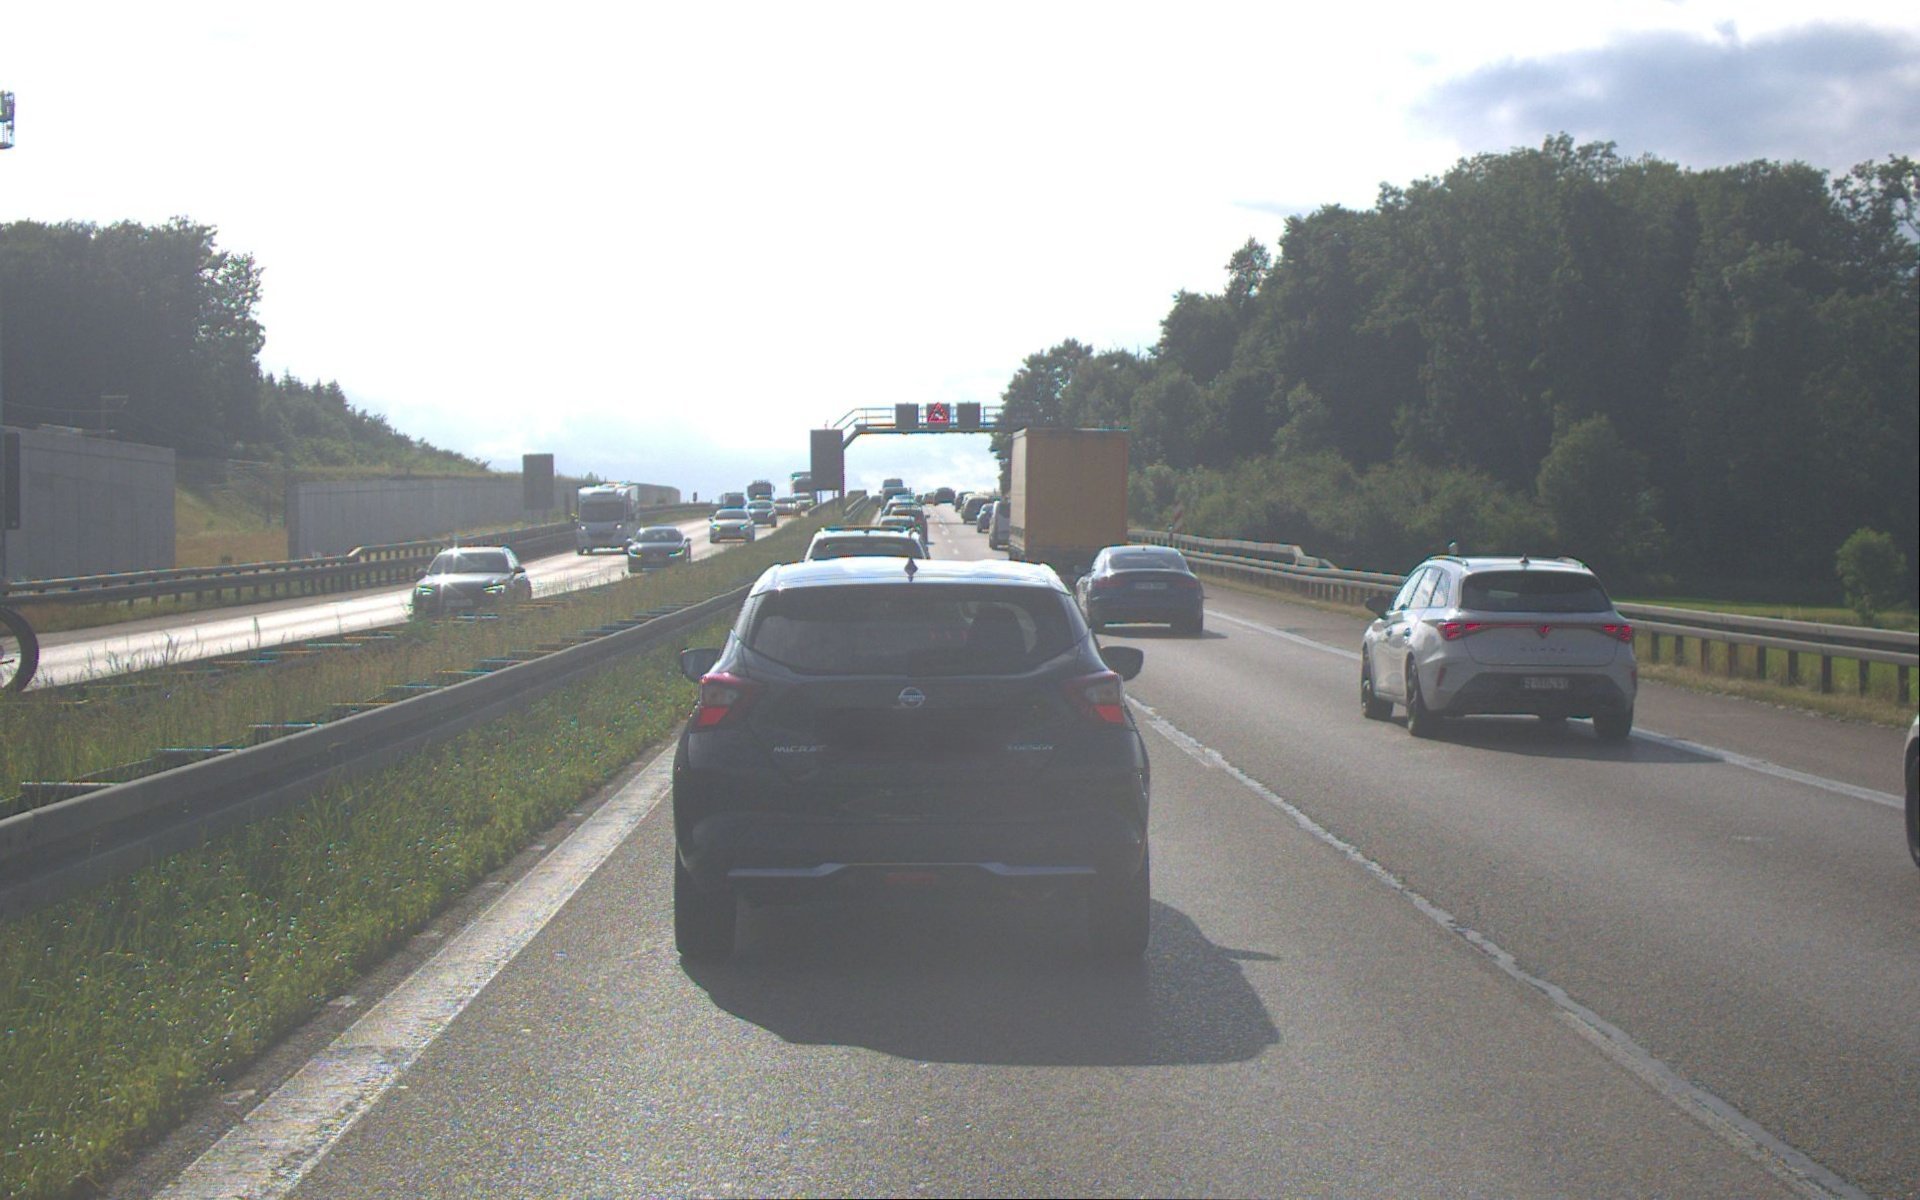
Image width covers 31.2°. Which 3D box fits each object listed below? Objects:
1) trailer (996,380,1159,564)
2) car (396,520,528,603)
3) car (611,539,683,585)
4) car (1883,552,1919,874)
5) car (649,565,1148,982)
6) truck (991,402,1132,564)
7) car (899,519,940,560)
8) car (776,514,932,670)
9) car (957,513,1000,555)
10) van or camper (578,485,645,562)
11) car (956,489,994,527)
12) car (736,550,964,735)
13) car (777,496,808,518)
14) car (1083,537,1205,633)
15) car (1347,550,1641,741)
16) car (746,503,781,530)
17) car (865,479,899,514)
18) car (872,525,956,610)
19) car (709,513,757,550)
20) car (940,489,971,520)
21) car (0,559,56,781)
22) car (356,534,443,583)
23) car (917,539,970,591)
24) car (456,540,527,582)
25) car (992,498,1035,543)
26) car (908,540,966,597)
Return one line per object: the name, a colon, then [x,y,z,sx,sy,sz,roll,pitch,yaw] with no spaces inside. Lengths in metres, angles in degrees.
trailer: [2.956,-3.222,90.898,3.548,4.442,12.723,1,0,-1]
car: [-9.156,-0.701,63.489,1.902,1.459,4.184,1,0,-1]
car: [-9.959,-1.208,109.749,1.993,1.428,4.449,1,0,-1]
car: [5.275,0.559,14.839,1.548,1.490,3.378,1,1,-2]
car: [-0.189,0.587,13.554,1.710,1.421,3.378,1,0,1]
truck: [2.800,-3.242,97.427,3.581,4.365,6.689,1,0,-1]
car: [-1.763,-2.624,149.900,1.667,1.749,3.327,1,0,1]
car: [-1.197,-0.097,40.126,1.674,1.720,3.596,1,0,0]
car: [0.927,-3.269,171.532,1.993,2.007,4.000,1,0,-1]
van or camper: [-14.261,-3.102,141.042,2.225,3.068,6.513,1,0,-1]
car: [0.817,-5.145,193.002,1.993,2.007,4.000,1,0,-1]
car: [-0.818,0.309,27.399,1.674,1.362,3.596,1,0,0]
car: [-11.453,-6.348,235.581,1.993,1.428,4.449,1,0,-1]
car: [2.935,-0.242,55.472,1.747,1.470,4.147,1,0,0]
car: [4.319,0.335,28.353,1.620,1.441,4.147,1,0,-2]
car: [-11.223,-4.762,196.640,1.853,1.428,4.449,0,0,-1]
car: [-4.751,-6.288,209.255,1.993,2.007,4.000,1,0,-1]
car: [-1.156,-0.786,84.202,1.993,2.007,4.000,1,0,-1]
car: [-10.307,-3.098,156.556,1.993,1.587,4.449,1,0,-1]
car: [-0.333,-6.538,235.299,1.993,2.007,4.000,1,0,-1]
car: [-7.973,0.509,24.246,1.888,1.626,5.111,1,0,-1]
car: [-16.951,-1.251,104.190,1.993,1.428,4.449,1,0,-1]
car: [-0.662,-1.367,134.469,1.993,2.007,4.000,1,0,-1]
car: [-16.393,-1.365,120.493,1.993,1.428,4.449,1,0,-1]
car: [2.163,-3.179,138.573,1.667,1.749,3.327,1,0,1]
car: [-0.859,-1.139,124.398,1.993,2.007,4.000,1,0,-1]
